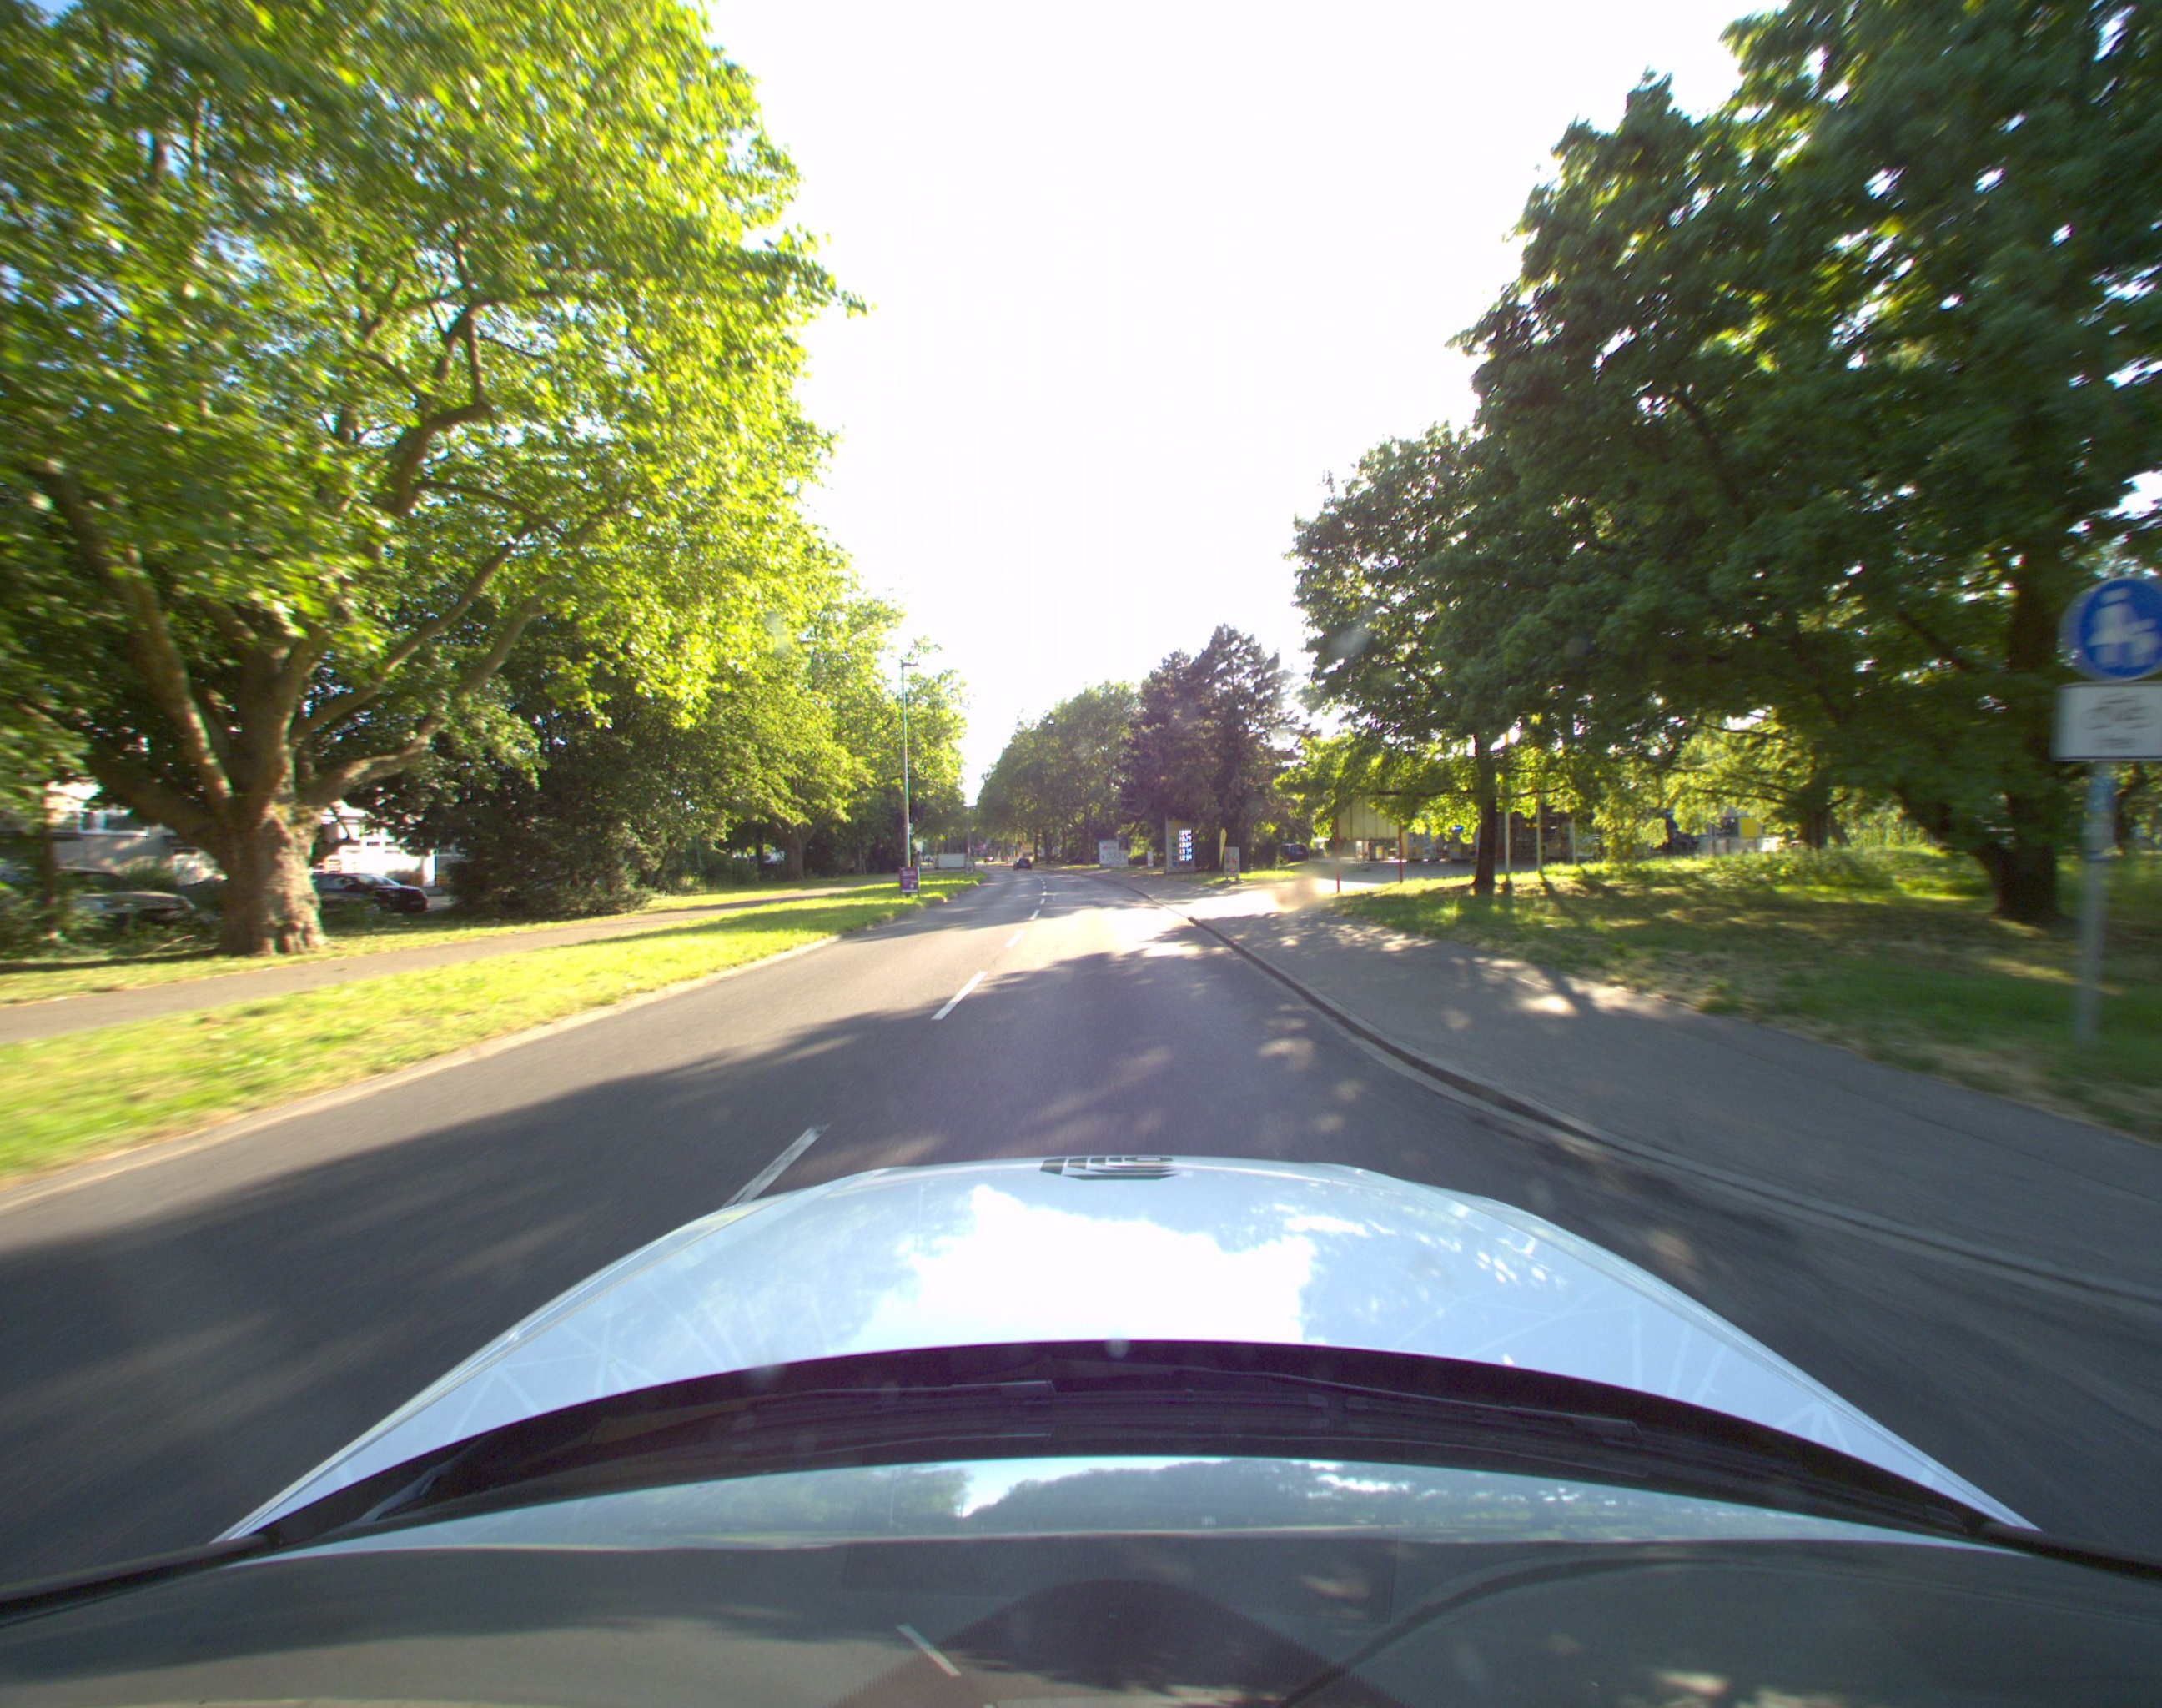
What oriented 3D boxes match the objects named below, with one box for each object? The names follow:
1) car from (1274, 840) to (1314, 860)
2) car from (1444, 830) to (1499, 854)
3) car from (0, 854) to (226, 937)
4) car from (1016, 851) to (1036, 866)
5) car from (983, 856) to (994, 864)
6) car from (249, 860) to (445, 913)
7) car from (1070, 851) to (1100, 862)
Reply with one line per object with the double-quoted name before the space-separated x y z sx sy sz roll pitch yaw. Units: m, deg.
"car" 15.635 -0.288 59.983 1.836 1.420 3.998 -1 0 -1
"car" 29.245 -0.873 61.160 1.809 1.728 4.392 -2 0 -4
"car" -21.388 0.861 17.289 4.119 1.596 1.949 -2 0 -6
"car" -6.304 0.482 94.209 1.832 1.605 3.866 -1 0 3
"car" -23.269 1.436 205.321 1.984 2.013 4.006 -1 0 6
"car" -21.900 0.936 24.440 3.980 1.508 1.910 0 0 -5
"car" 0.590 0.332 116.930 3.985 1.443 1.755 -2 0 -9
